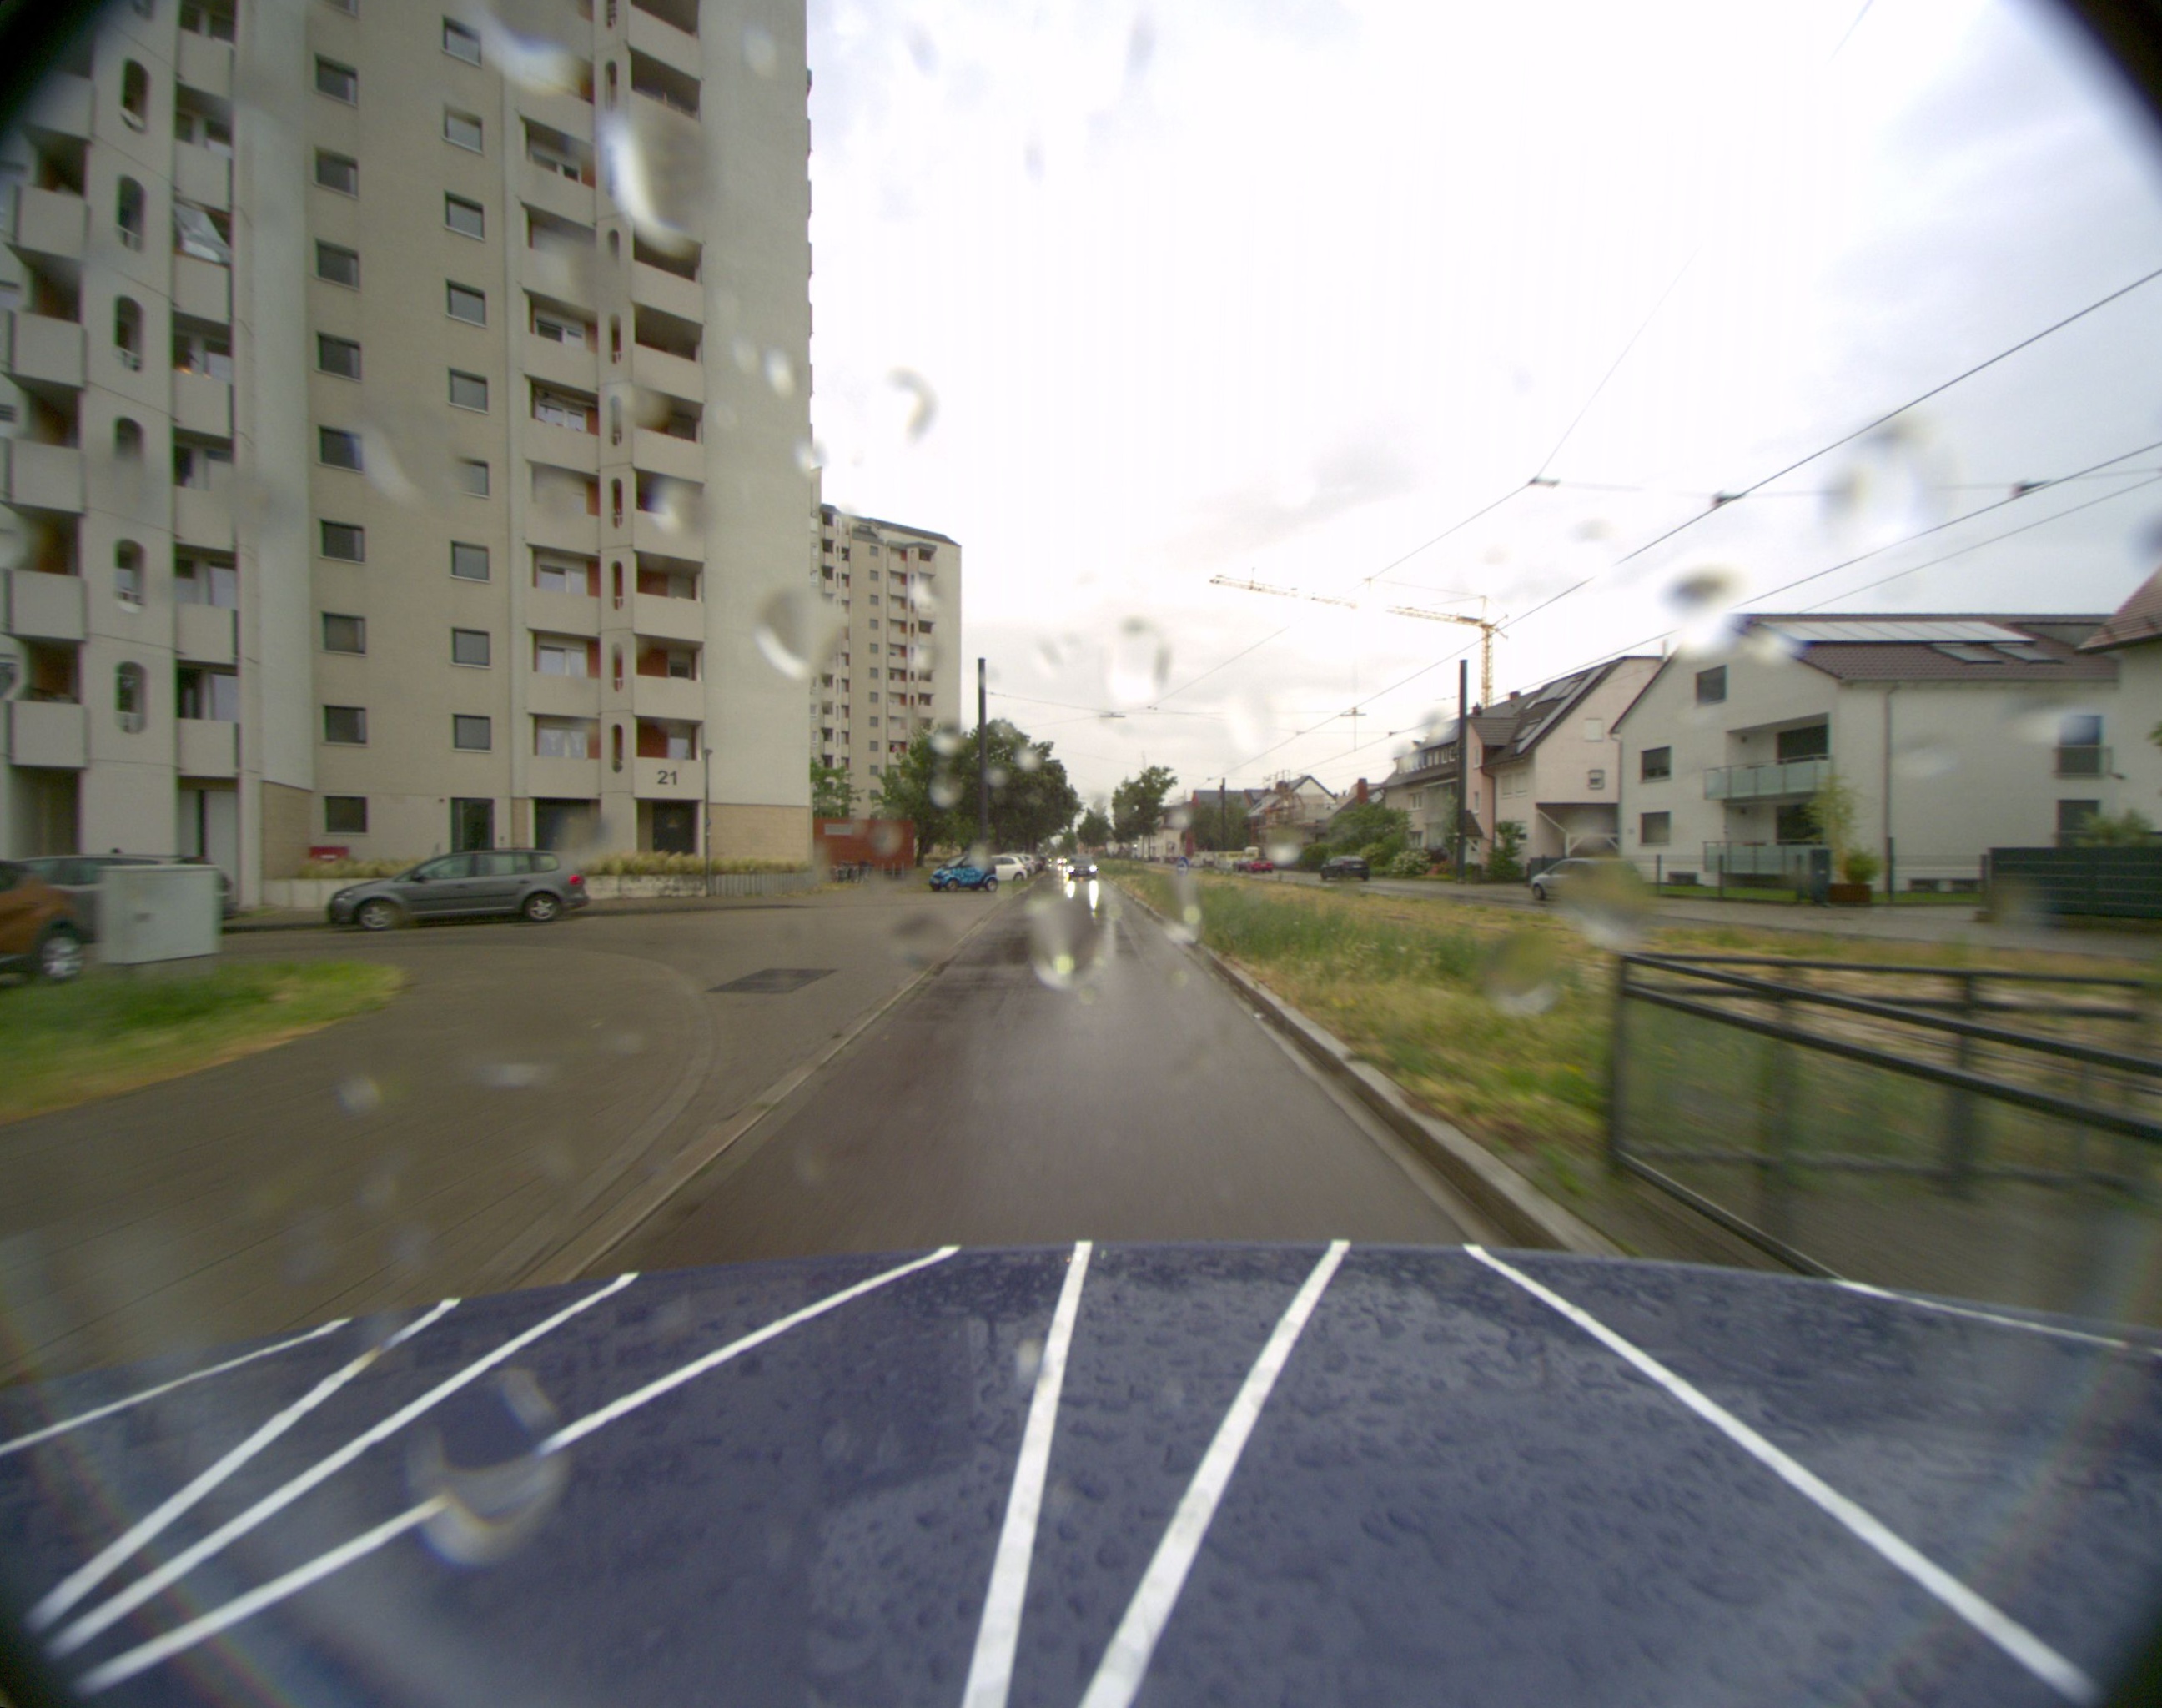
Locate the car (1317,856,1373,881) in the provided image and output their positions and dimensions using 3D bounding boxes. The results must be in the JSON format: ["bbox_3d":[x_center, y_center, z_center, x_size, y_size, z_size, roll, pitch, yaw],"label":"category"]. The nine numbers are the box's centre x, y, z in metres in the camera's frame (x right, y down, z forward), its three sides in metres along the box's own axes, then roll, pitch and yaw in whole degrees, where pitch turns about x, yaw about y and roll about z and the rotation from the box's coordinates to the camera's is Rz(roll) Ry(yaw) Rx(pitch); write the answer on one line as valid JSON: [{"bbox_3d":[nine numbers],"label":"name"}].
[{"bbox_3d":[16.040,0.849,46.419,1.841,1.418,4.173,-1,0,-2],"label":"car"}]

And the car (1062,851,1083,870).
[{"bbox_3d":[-0.859,0.627,75.771,1.998,1.762,3.999,-1,1,0],"label":"car"}]

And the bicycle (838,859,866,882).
[{"bbox_3d":[-10.850,0.763,36.059,0.663,1.000,2.057,-1,1,0],"label":"bicycle"}]

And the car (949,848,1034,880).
[{"bbox_3d":[-4.777,0.548,40.797,4.195,1.538,1.760,3,-1,-40],"label":"car"}]

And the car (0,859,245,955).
[{"bbox_3d":[-18.246,0.926,13.534,4.119,1.524,1.811,-2,0,-30],"label":"car"}]

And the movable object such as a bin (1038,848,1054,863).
[{"bbox_3d":[-3.626,0.138,77.960,1.165,1.553,1.372,-2,2,-24],"label":"movable object such as a bin"}]

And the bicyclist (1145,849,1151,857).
[{"bbox_3d":[12.577,-0.192,143.261,0.956,1.575,1.399,-1,2,-2],"label":"bicyclist"}]

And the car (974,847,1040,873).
[{"bbox_3d":[-5.338,0.452,55.433,4.471,1.662,1.807,3,-1,-38],"label":"car"}]

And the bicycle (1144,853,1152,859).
[{"bbox_3d":[12.584,0.319,142.775,0.937,1.037,3.433,0,1,-3],"label":"bicycle"}]

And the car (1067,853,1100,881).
[{"bbox_3d":[0.103,0.808,48.843,1.999,1.611,3.998,-1,1,-1],"label":"car"}]

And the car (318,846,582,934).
[{"bbox_3d":[-13.364,0.692,16.481,4.119,1.607,1.811,-2,0,-30],"label":"car"}]

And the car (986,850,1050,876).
[{"bbox_3d":[-4.370,0.632,53.137,4.195,1.662,1.680,3,-1,-37],"label":"car"}]

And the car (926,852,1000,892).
[{"bbox_3d":[-4.839,0.698,31.291,2.570,1.539,1.598,-1,1,-40],"label":"car"}]

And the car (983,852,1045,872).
[{"bbox_3d":[-5.117,0.629,58.297,4.470,1.401,1.763,3,-1,-35],"label":"car"}]

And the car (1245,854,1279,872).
[{"bbox_3d":[15.970,0.773,67.330,1.999,1.365,3.842,-1,1,-2],"label":"car"}]

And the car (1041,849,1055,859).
[{"bbox_3d":[-5.578,0.006,128.910,1.998,1.696,3.999,-1,1,0],"label":"car"}]

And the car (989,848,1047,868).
[{"bbox_3d":[-5.120,0.314,62.034,4.470,1.419,1.680,3,-1,-34],"label":"car"}]

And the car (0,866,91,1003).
[{"bbox_3d":[-12.207,0.916,7.134,2.003,1.433,3.990,-2,2,-28],"label":"car"}]

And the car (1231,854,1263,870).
[{"bbox_3d":[15.754,0.792,72.482,1.999,1.401,4.174,-1,-1,-2],"label":"car"}]

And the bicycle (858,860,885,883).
[{"bbox_3d":[-9.913,0.815,36.011,0.663,1.000,2.057,-1,1,0],"label":"bicycle"}]

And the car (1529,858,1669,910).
[{"bbox_3d":[16.665,0.915,24.692,1.999,1.406,3.656,-1,1,-2],"label":"car"}]
